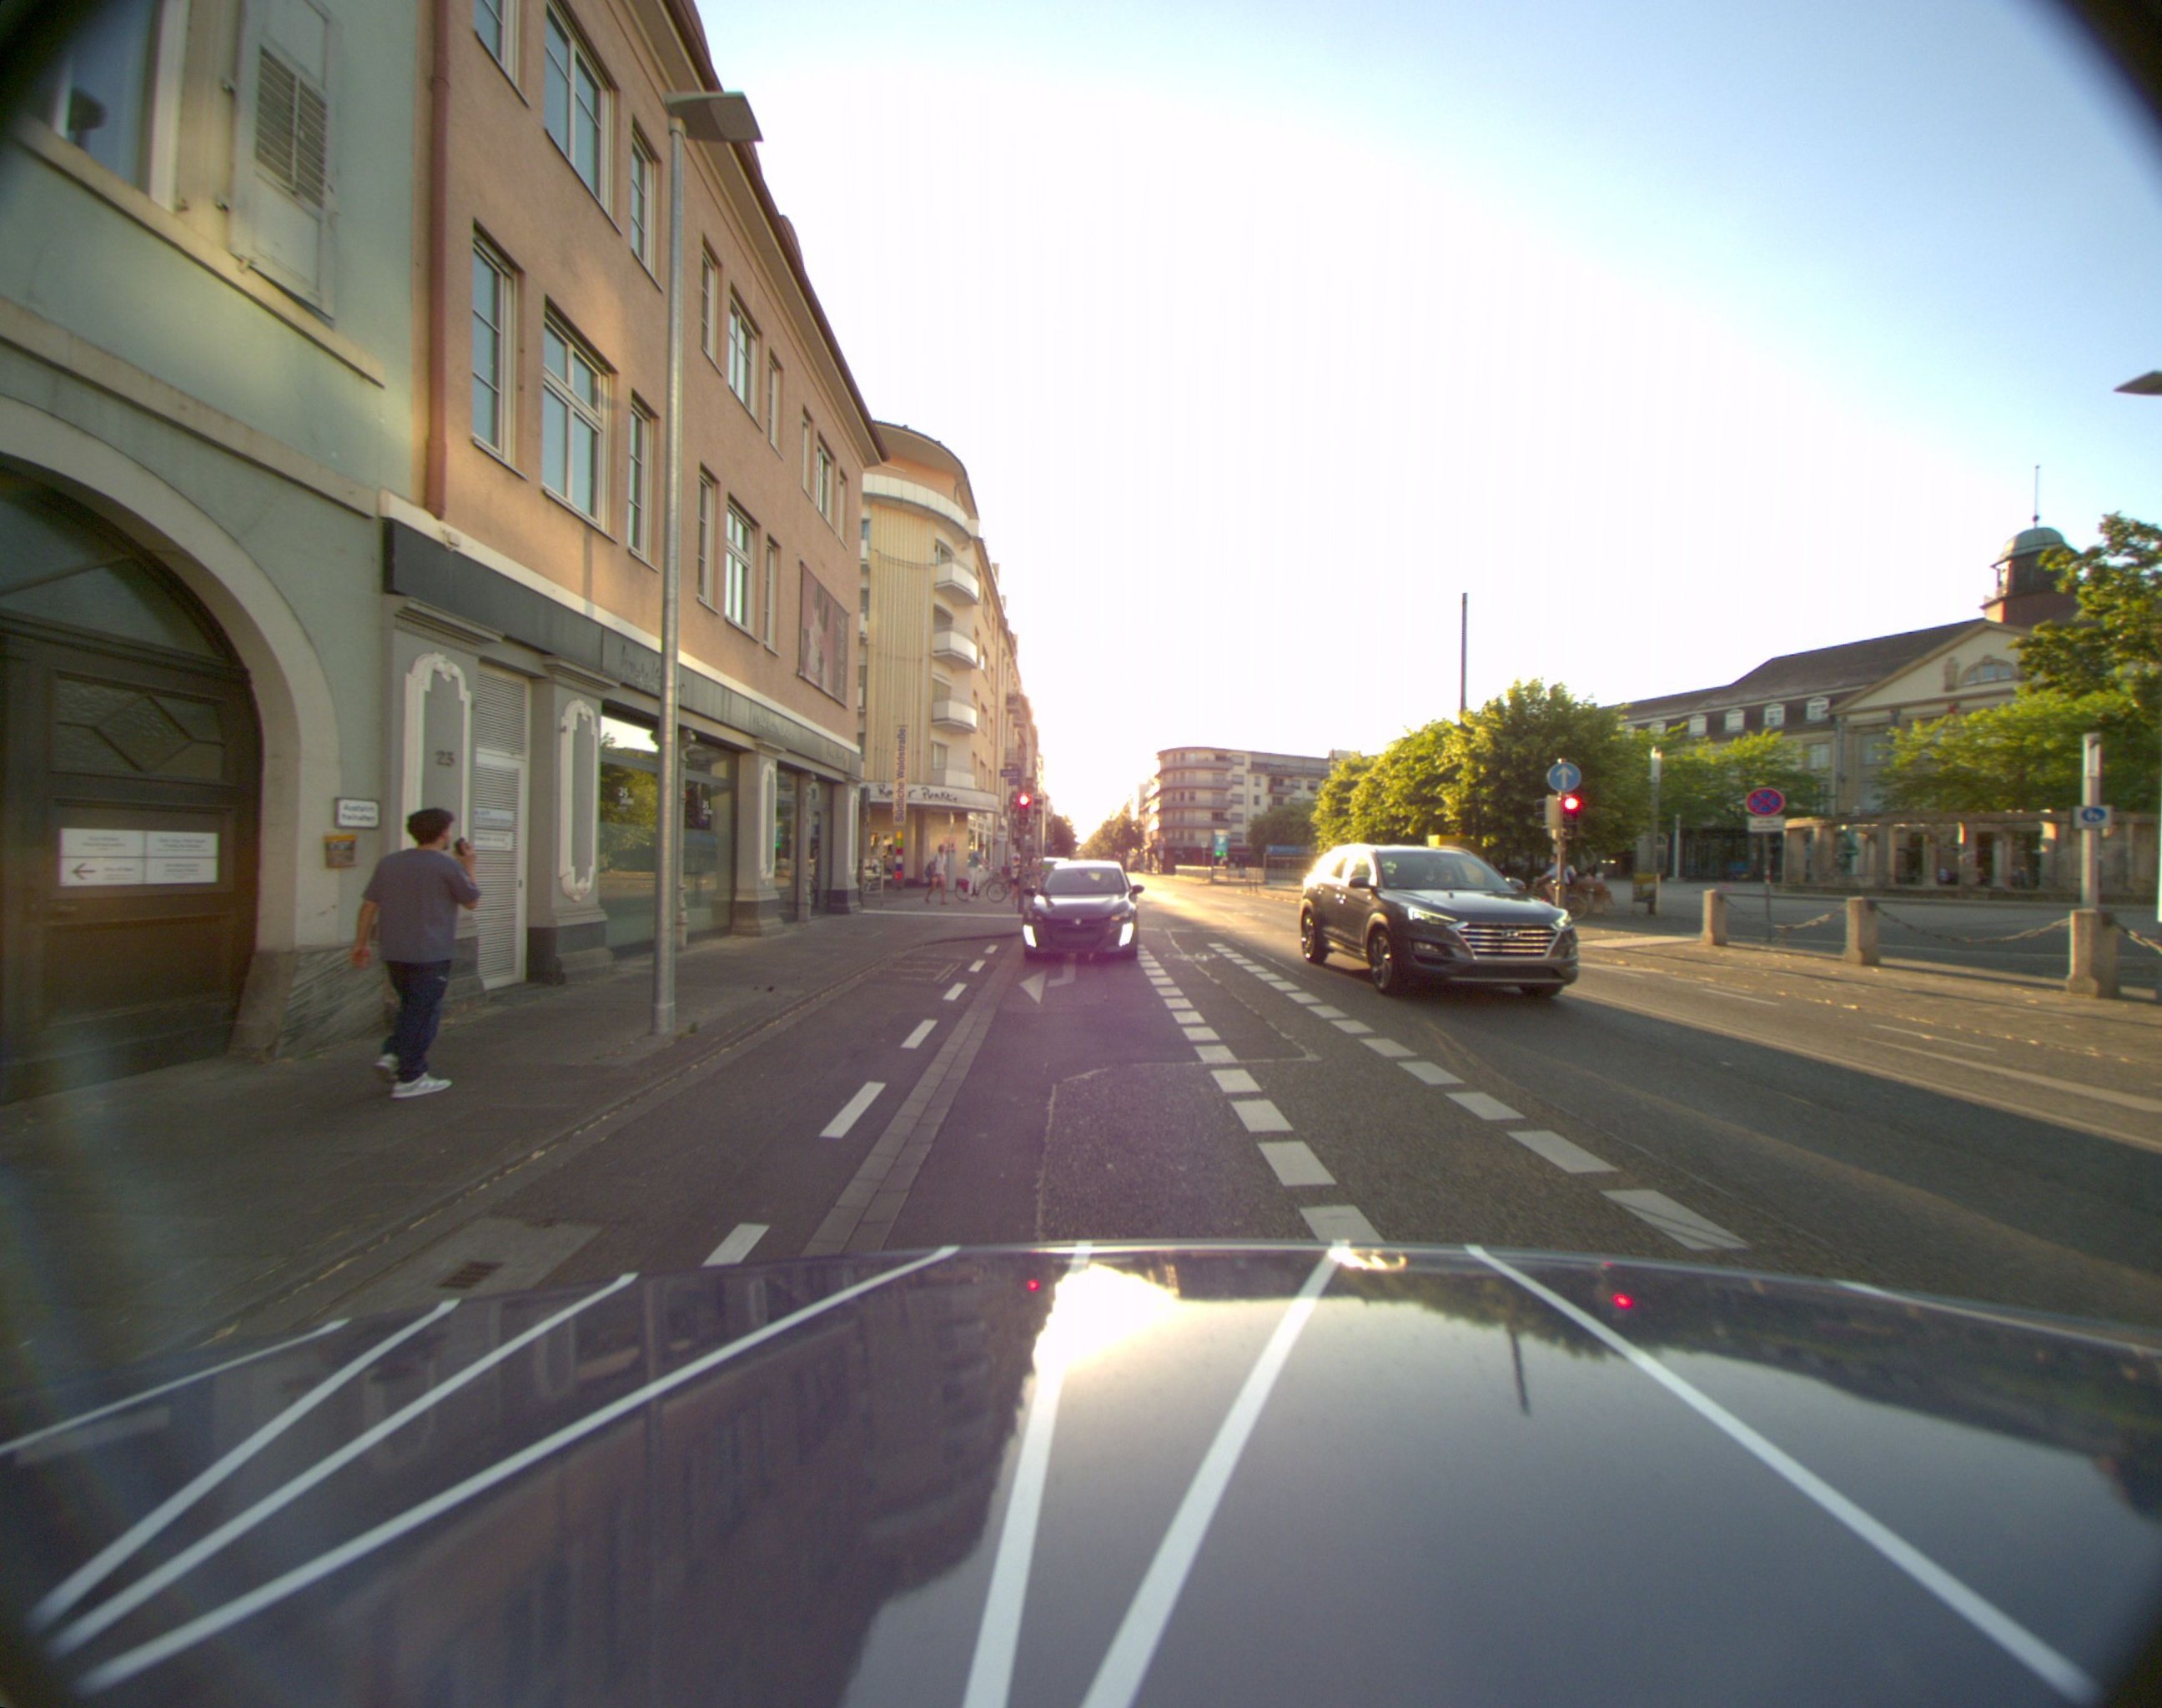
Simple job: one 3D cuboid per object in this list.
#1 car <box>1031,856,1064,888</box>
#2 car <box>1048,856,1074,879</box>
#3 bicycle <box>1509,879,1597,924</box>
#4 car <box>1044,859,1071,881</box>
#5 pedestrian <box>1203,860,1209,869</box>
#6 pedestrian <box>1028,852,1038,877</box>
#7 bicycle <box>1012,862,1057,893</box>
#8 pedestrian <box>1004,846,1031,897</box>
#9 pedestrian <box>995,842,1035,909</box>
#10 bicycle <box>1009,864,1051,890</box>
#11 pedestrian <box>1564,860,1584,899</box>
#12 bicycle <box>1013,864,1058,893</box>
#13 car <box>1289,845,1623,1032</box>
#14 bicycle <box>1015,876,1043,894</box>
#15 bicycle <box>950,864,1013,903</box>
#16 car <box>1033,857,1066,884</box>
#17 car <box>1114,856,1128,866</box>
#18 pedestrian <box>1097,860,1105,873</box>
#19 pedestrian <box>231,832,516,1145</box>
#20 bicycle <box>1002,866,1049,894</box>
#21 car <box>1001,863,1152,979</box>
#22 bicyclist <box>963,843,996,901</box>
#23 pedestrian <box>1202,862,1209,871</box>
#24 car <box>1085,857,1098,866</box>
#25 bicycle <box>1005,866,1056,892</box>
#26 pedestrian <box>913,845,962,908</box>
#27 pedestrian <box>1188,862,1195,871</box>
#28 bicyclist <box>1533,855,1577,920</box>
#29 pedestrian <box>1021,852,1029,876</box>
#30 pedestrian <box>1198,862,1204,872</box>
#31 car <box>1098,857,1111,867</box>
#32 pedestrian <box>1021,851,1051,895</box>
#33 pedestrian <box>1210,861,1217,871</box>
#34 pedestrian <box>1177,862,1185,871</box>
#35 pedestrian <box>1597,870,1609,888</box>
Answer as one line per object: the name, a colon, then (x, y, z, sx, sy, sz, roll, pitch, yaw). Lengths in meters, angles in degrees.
car: (-1.795, 0.949, 41.325, 1.702, 1.607, 4.682, 1, 0, -2)
car: (-1.516, 1.034, 58.777, 1.877, 1.664, 4.430, 1, 0, 0)
bicycle: (12.852, 1.282, 20.745, 1.917, 1.111, 0.706, 1, 0, 17)
car: (-1.607, 1.104, 53.225, 1.738, 1.448, 4.610, 1, 0, 0)
pedestrian: (17.746, 1.523, 107.913, 0.732, 1.314, 0.888, 1, 0, -3)
pedestrian: (-3.983, 0.849, 62.837, 0.763, 2.002, 0.851, 1, 0, 0)
bicycle: (-1.938, 0.979, 31.659, 1.849, 1.232, 0.639, 1, 0, -6)
pedestrian: (-2.317, 0.639, 27.439, 0.826, 1.806, 0.870, 1, 0, -13)
pedestrian: (-1.912, 0.616, 21.989, 0.942, 1.886, 0.824, 1, 0, -21)
bicycle: (-2.360, 1.079, 34.989, 1.851, 1.117, 0.594, 2, 1, -12)
pedestrian: (21.185, 1.084, 32.670, 0.703, 1.611, 0.842, 0, 1, 31)
bicycle: (-1.942, 1.028, 32.407, 1.788, 1.166, 0.621, 2, 0, -12)
car: (4.095, 0.805, 9.289, 1.877, 1.679, 4.450, 2, 0, 1)
bicycle: (-2.068, 1.231, 30.037, 1.008, 0.677, 1.049, 1, 0, -9)
bicycle: (-3.147, 0.918, 24.178, 1.823, 1.179, 0.794, 1, 0, 9)
car: (-1.920, 1.001, 47.602, 1.821, 1.611, 4.203, 1, 0, 0)
car: (6.945, 1.234, 132.465, 1.999, 1.805, 3.999, 1, 0, -2)
pedestrian: (2.400, 1.493, 90.020, 0.678, 1.508, 0.676, 1, 0, -43)
pedestrian: (-4.023, 0.711, 4.412, 0.825, 1.632, 0.871, 1, 0, -2)
bicycle: (-2.266, 1.054, 30.720, 1.788, 1.057, 0.718, 2, 0, -11)
car: (0.144, 0.894, 12.148, 1.907, 1.438, 4.452, 1, 0, 6)
bicyclist: (-3.225, 0.565, 24.196, 0.835, 1.815, 0.831, 1, 0, 8)
pedestrian: (17.741, 1.741, 108.348, 0.689, 1.314, 0.819, 0, 0, -24)
car: (1.976, 1.373, 139.450, 1.878, 1.621, 4.177, 3, -1, -5)
bicycle: (-2.263, 1.101, 33.990, 2.176, 1.069, 0.805, 2, 0, -7)
pedestrian: (-4.176, 0.627, 22.094, 1.097, 1.764, 0.828, 1, 0, 36)
pedestrian: (15.446, 1.743, 106.427, 0.887, 1.185, 0.733, 1, 0, 9)
bicyclist: (12.906, 0.895, 20.711, 0.777, 1.714, 0.856, 1, 0, 15)
pedestrian: (-4.678, 0.861, 63.488, 0.673, 2.002, 0.851, 0, 0, 0)
pedestrian: (17.066, 1.825, 107.818, 0.732, 1.314, 0.889, 1, 0, -1)
car: (3.939, 1.357, 126.929, 1.790, 1.458, 3.956, 2, 0, -2)
pedestrian: (-1.681, 0.704, 28.569, 0.789, 1.643, 0.782, 1, 0, 43)
pedestrian: (18.775, 1.723, 107.678, 0.733, 1.314, 0.888, 0, 0, -13)
pedestrian: (13.957, 1.721, 106.218, 0.890, 1.314, 0.731, 1, 0, -27)
pedestrian: (30.701, 1.477, 44.684, 0.461, 1.057, 0.531, -1, -2, 19)
